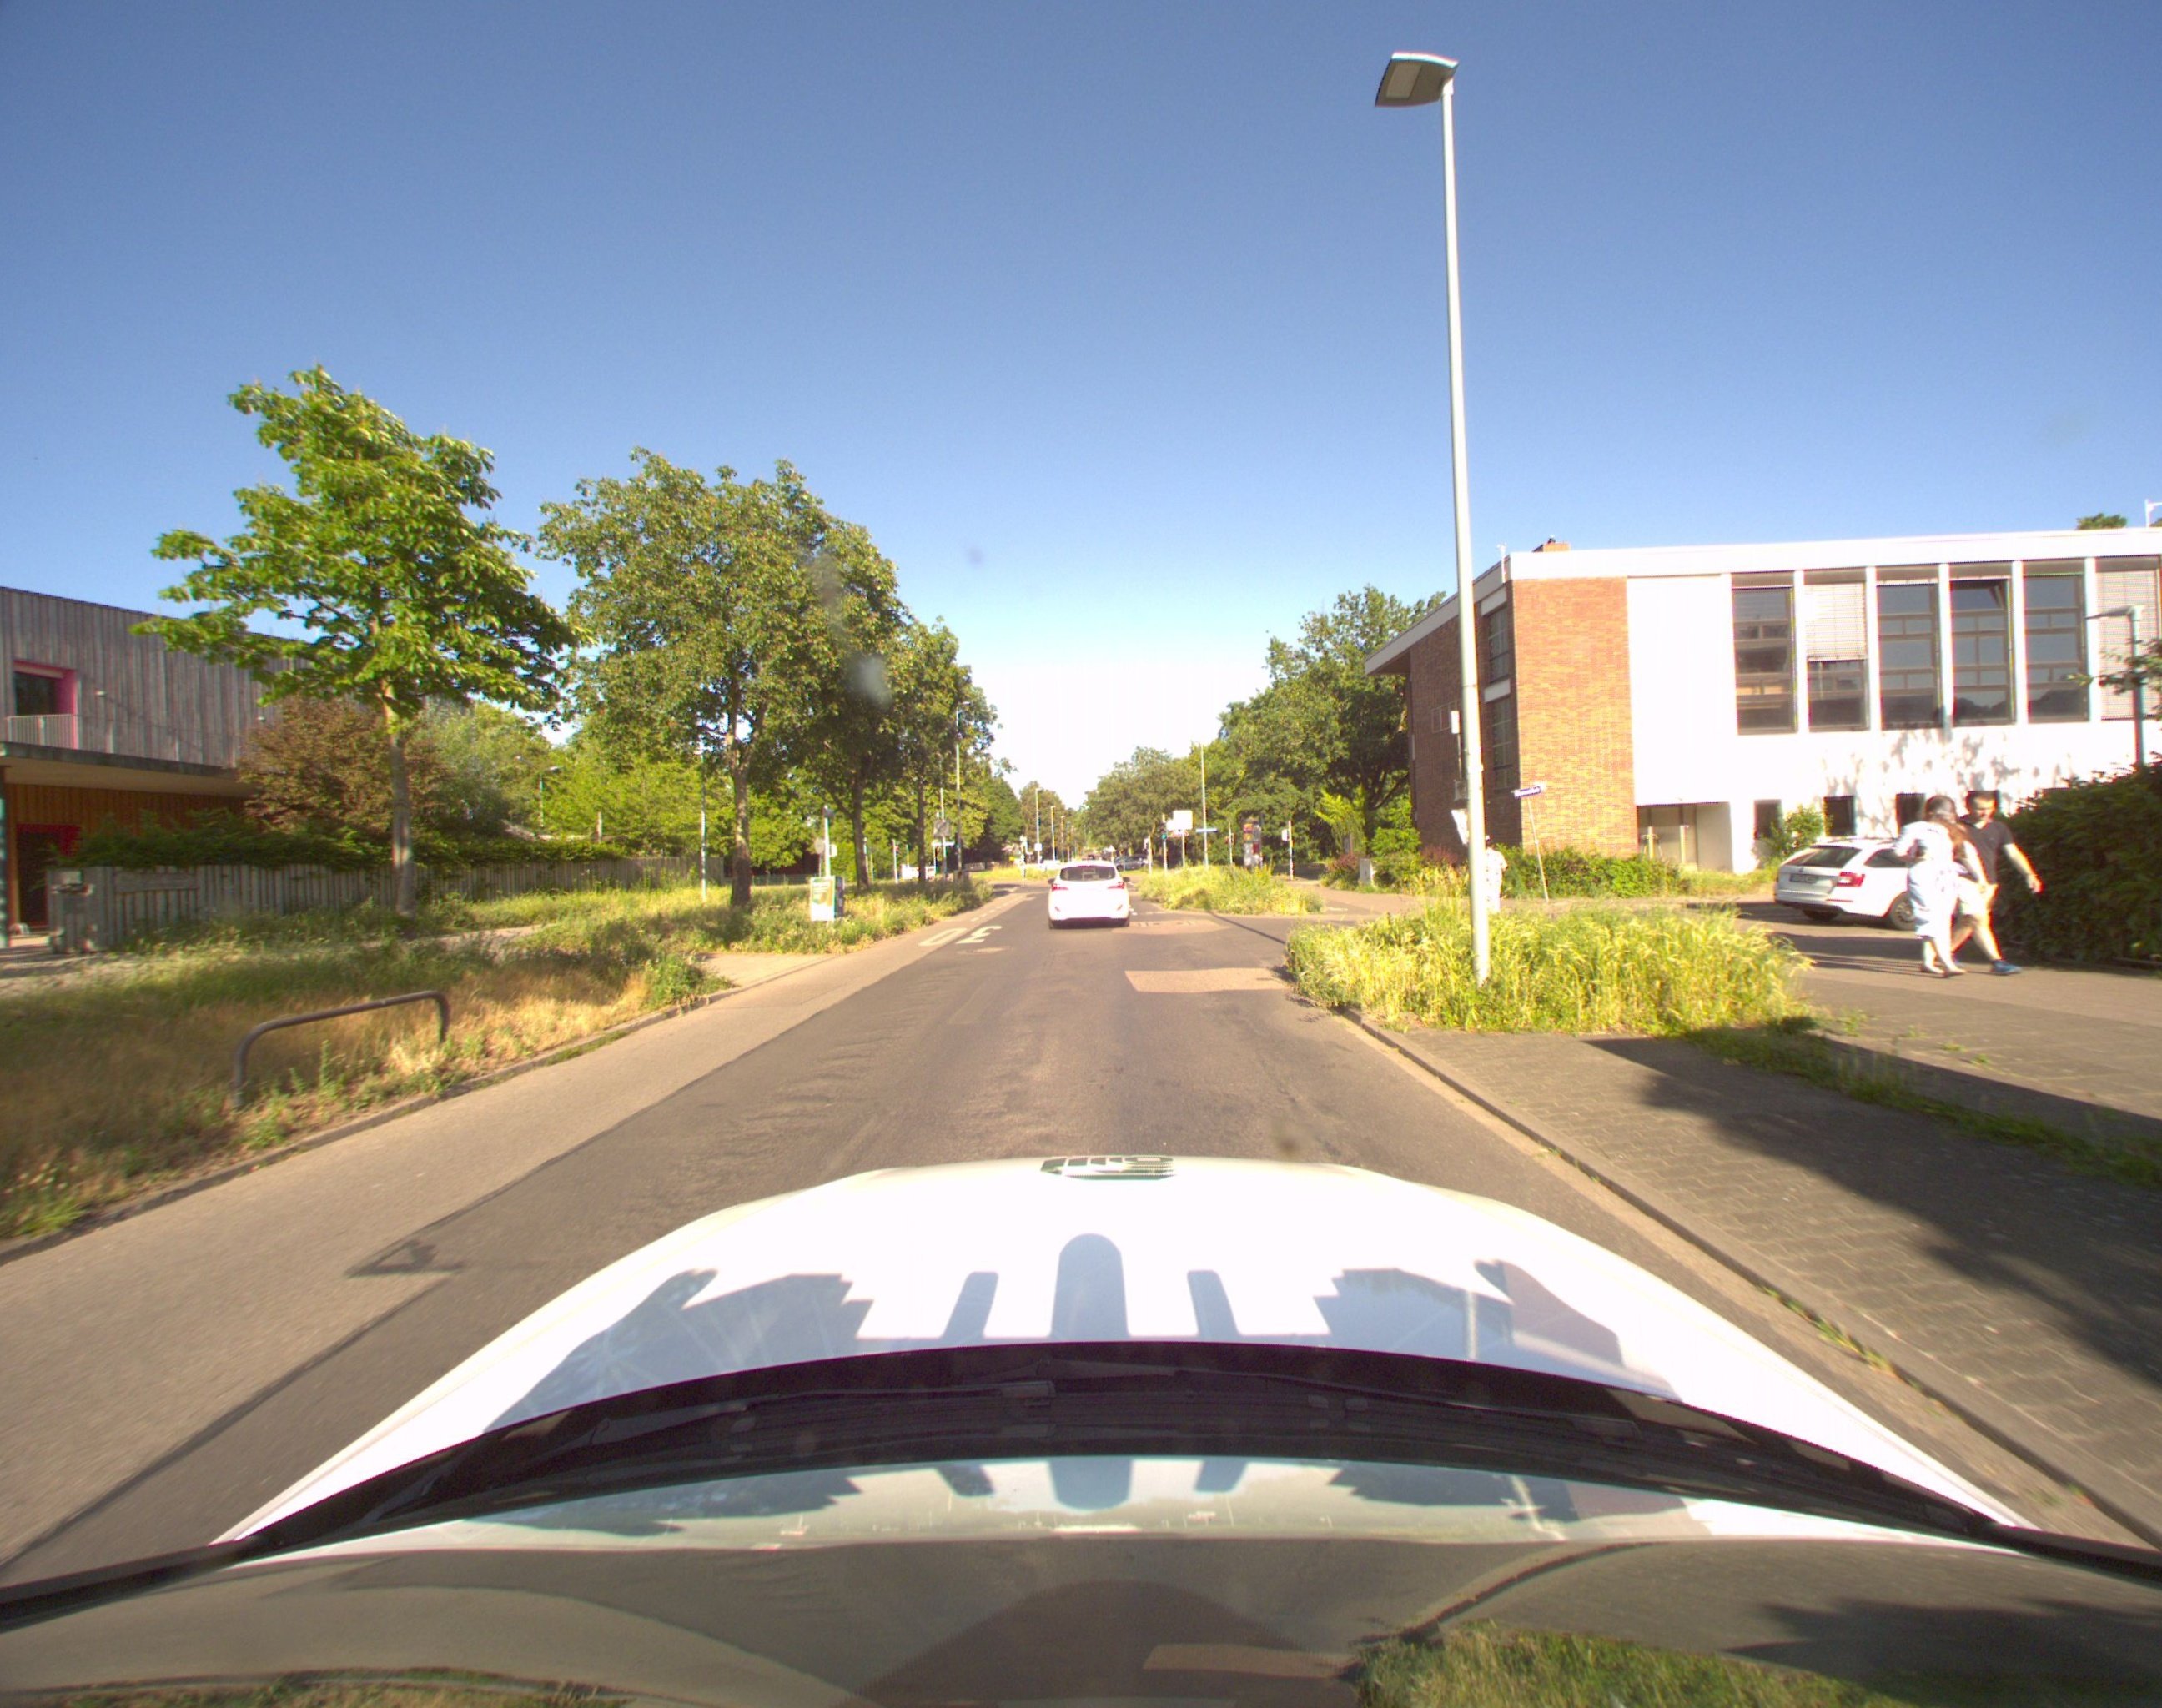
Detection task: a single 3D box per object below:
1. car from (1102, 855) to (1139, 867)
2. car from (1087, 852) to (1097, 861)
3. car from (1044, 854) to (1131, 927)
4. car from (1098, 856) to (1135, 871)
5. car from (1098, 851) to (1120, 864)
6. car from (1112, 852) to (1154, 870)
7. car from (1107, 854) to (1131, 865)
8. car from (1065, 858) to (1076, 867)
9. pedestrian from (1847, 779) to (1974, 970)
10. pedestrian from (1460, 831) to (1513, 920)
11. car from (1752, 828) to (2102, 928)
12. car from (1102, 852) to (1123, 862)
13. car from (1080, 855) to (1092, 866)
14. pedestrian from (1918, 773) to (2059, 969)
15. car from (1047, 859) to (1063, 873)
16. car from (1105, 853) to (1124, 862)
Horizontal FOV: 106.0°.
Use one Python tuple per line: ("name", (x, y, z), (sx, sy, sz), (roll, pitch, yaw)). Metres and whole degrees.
("car", (5.986, 1.113, 123.628), (5.594, 1.684, 1.948), (-1, -1, 0))
("car", (2.435, 0.596, 180.386), (1.986, 1.816, 4.001), (-1, -1, 1))
("car", (0.164, 0.768, 19.048), (1.783, 1.463, 3.964), (-2, 0, 1))
("car", (4.442, 1.135, 100.500), (4.480, 1.630, 1.856), (-2, 0, 3))
("car", (4.805, 0.580, 140.555), (3.806, 2.098, 1.863), (-1, -1, 1))
("car", (5.672, 0.726, 88.481), (4.480, 1.783, 1.856), (-2, 0, 3))
("car", (6.074, 0.958, 130.500), (3.806, 1.684, 1.863), (-1, -1, 1))
("car", (-2.151, 1.633, 160.973), (1.986, 1.816, 4.001), (-1, 0, 1))
("pedestrian", (7.873, 0.190, 7.761), (0.550, 1.732, 0.664), (-2, -1, 17))
("pedestrian", (8.510, 0.446, 17.111), (0.892, 1.822, 0.740), (-1, -1, 21))
("car", (14.490, 0.374, 14.143), (4.179, 1.502, 1.807), (-2, 1, 1))
("car", (6.572, 0.581, 167.866), (4.287, 1.908, 1.863), (-1, -1, 1))
("car", (0.810, 1.056, 137.632), (1.986, 1.816, 4.000), (0, 0, 1))
("pedestrian", (8.442, 0.155, 7.604), (0.601, 1.732, 0.642), (-1, -1, 17))
("car", (-3.604, 1.596, 112.730), (1.986, 1.815, 4.001), (-1, 1, 1))
("car", (6.742, 0.710, 164.714), (3.806, 1.767, 1.863), (-1, -1, 1))
